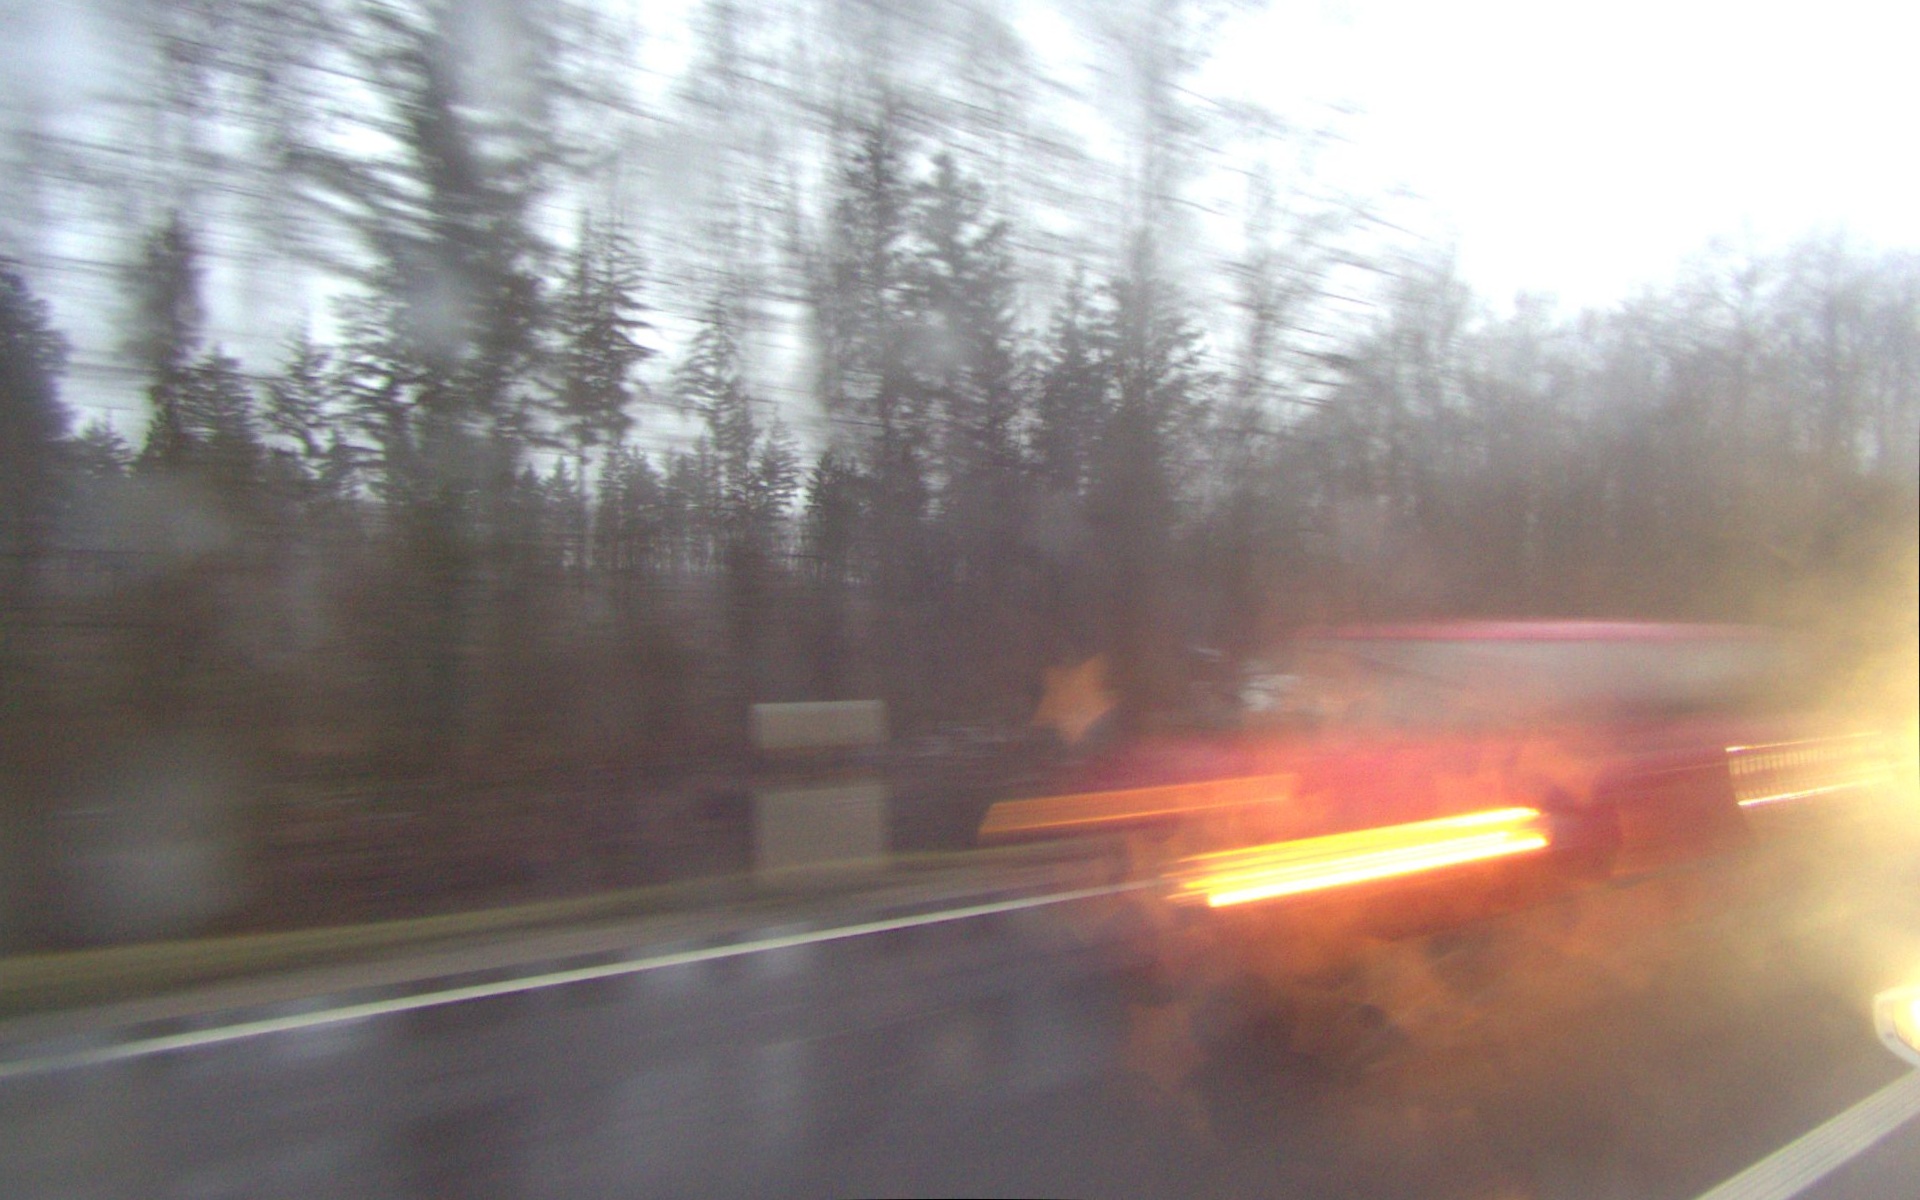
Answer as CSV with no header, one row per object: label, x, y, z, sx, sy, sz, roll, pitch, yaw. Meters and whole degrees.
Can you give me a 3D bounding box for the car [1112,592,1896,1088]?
car,2.781,0.851,4.917,3.954,1.570,1.573,2,-4,-31
